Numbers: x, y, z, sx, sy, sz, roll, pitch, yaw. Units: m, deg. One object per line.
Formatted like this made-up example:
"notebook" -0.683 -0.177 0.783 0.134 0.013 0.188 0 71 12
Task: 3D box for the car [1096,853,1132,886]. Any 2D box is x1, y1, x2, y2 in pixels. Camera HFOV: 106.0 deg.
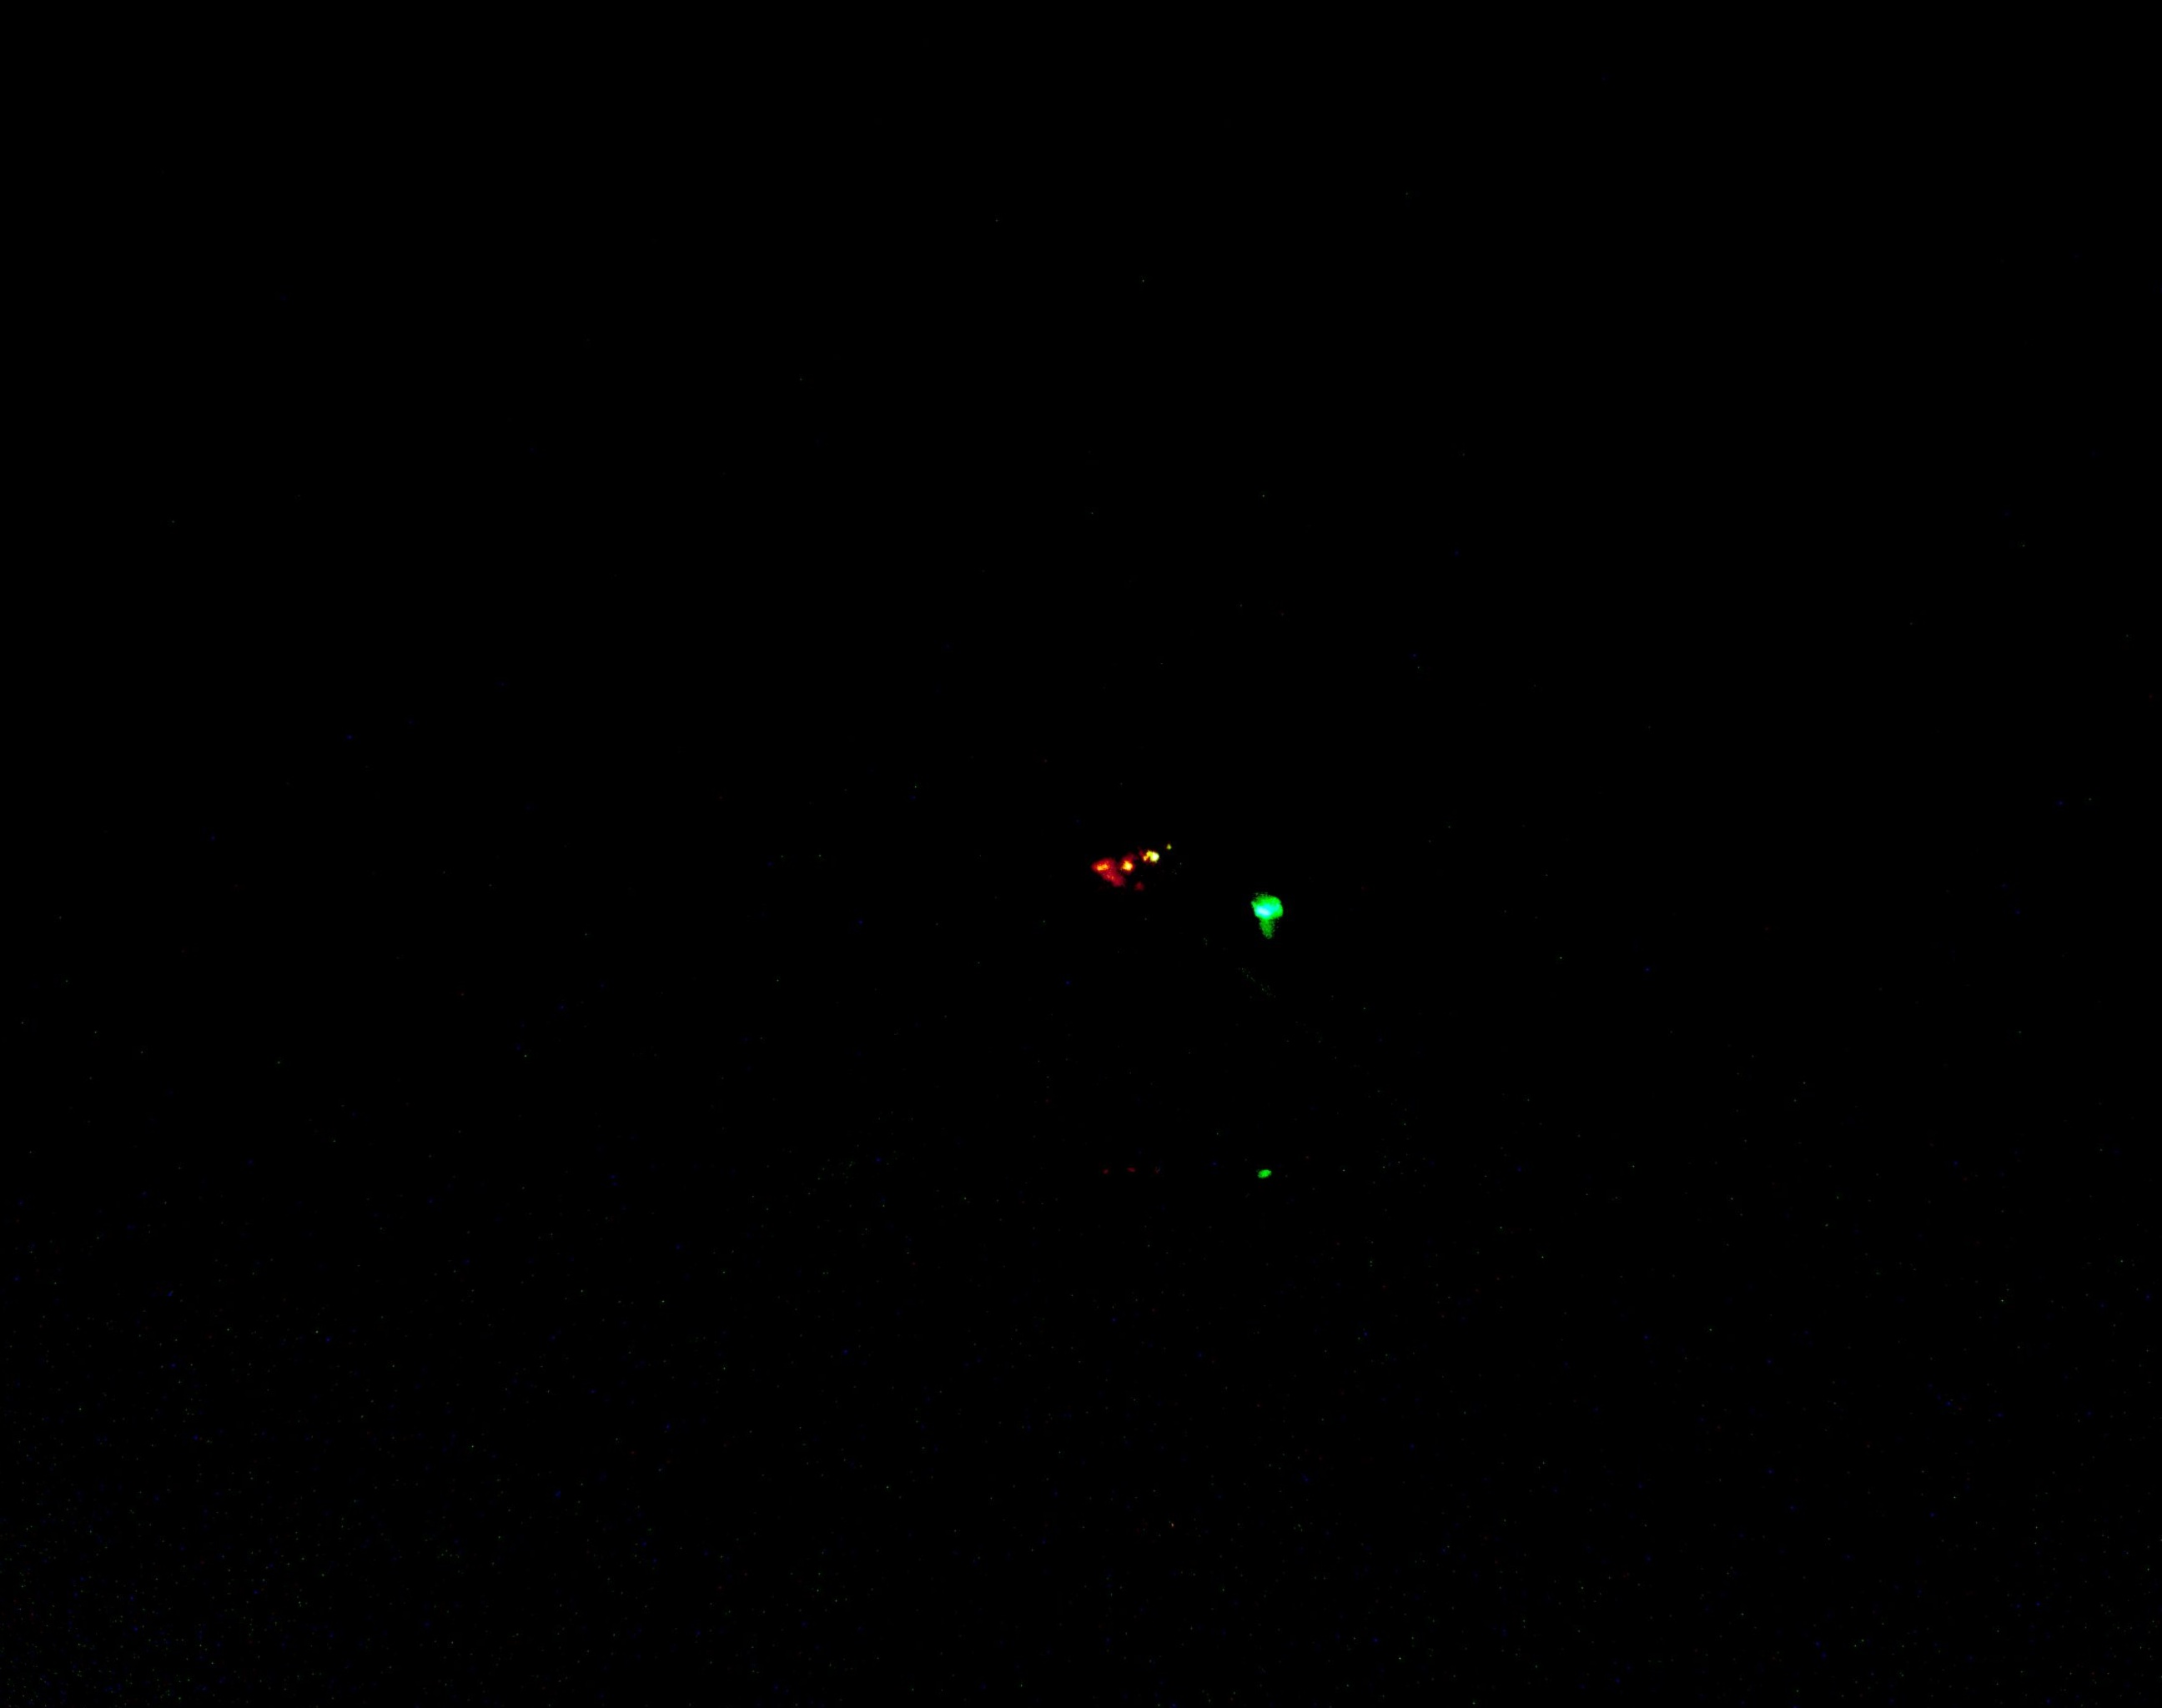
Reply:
"car" 1.922 0.849 46.146 1.834 1.740 4.005 -1 0 4
